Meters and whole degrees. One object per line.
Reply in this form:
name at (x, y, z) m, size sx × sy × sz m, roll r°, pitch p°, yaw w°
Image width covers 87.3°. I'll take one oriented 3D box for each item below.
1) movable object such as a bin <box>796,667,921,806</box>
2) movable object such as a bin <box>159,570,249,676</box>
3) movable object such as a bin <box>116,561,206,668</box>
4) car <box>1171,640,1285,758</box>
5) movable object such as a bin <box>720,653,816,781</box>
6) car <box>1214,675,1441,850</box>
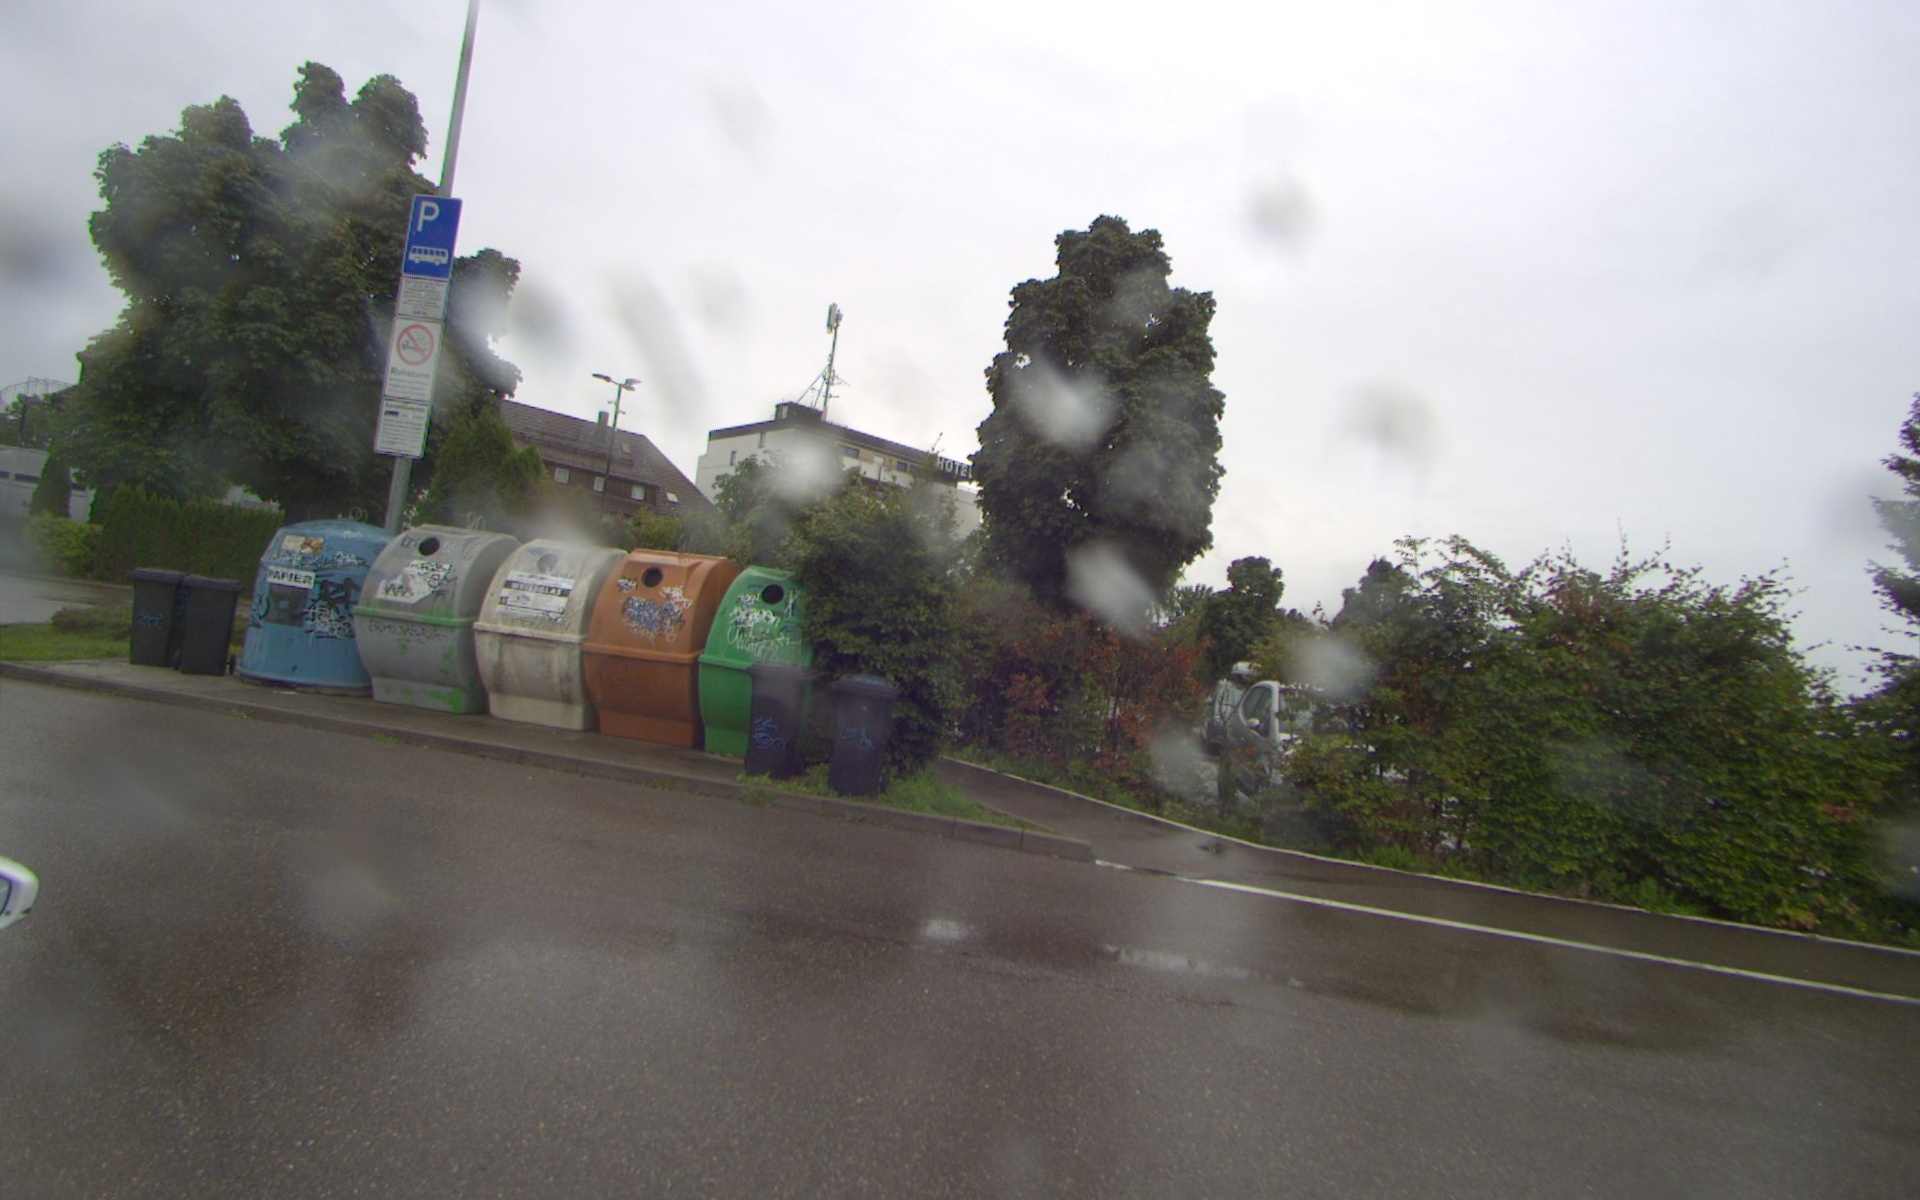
movable object such as a bin at (-0.765, 1.024, 7.602) m, size 0.549 × 0.931 × 0.627 m, roll 7°, pitch -1°, yaw 42°
movable object such as a bin at (-7.159, 0.223, 9.529) m, size 0.480 × 0.928 × 0.449 m, roll 7°, pitch -1°, yaw 31°
movable object such as a bin at (-7.679, 0.144, 9.672) m, size 0.480 × 0.950 × 0.449 m, roll 7°, pitch -1°, yaw 31°
car at (6.110, 2.218, 23.452) m, size 1.962 × 2.213 × 4.775 m, roll 7°, pitch -2°, yaw 11°
movable object such as a bin at (-1.520, 0.926, 7.972) m, size 0.410 × 0.931 × 0.493 m, roll 7°, pitch -1°, yaw 42°
car at (4.126, 1.771, 11.877) m, size 1.518 × 1.527 × 3.674 m, roll 7°, pitch -4°, yaw 7°
